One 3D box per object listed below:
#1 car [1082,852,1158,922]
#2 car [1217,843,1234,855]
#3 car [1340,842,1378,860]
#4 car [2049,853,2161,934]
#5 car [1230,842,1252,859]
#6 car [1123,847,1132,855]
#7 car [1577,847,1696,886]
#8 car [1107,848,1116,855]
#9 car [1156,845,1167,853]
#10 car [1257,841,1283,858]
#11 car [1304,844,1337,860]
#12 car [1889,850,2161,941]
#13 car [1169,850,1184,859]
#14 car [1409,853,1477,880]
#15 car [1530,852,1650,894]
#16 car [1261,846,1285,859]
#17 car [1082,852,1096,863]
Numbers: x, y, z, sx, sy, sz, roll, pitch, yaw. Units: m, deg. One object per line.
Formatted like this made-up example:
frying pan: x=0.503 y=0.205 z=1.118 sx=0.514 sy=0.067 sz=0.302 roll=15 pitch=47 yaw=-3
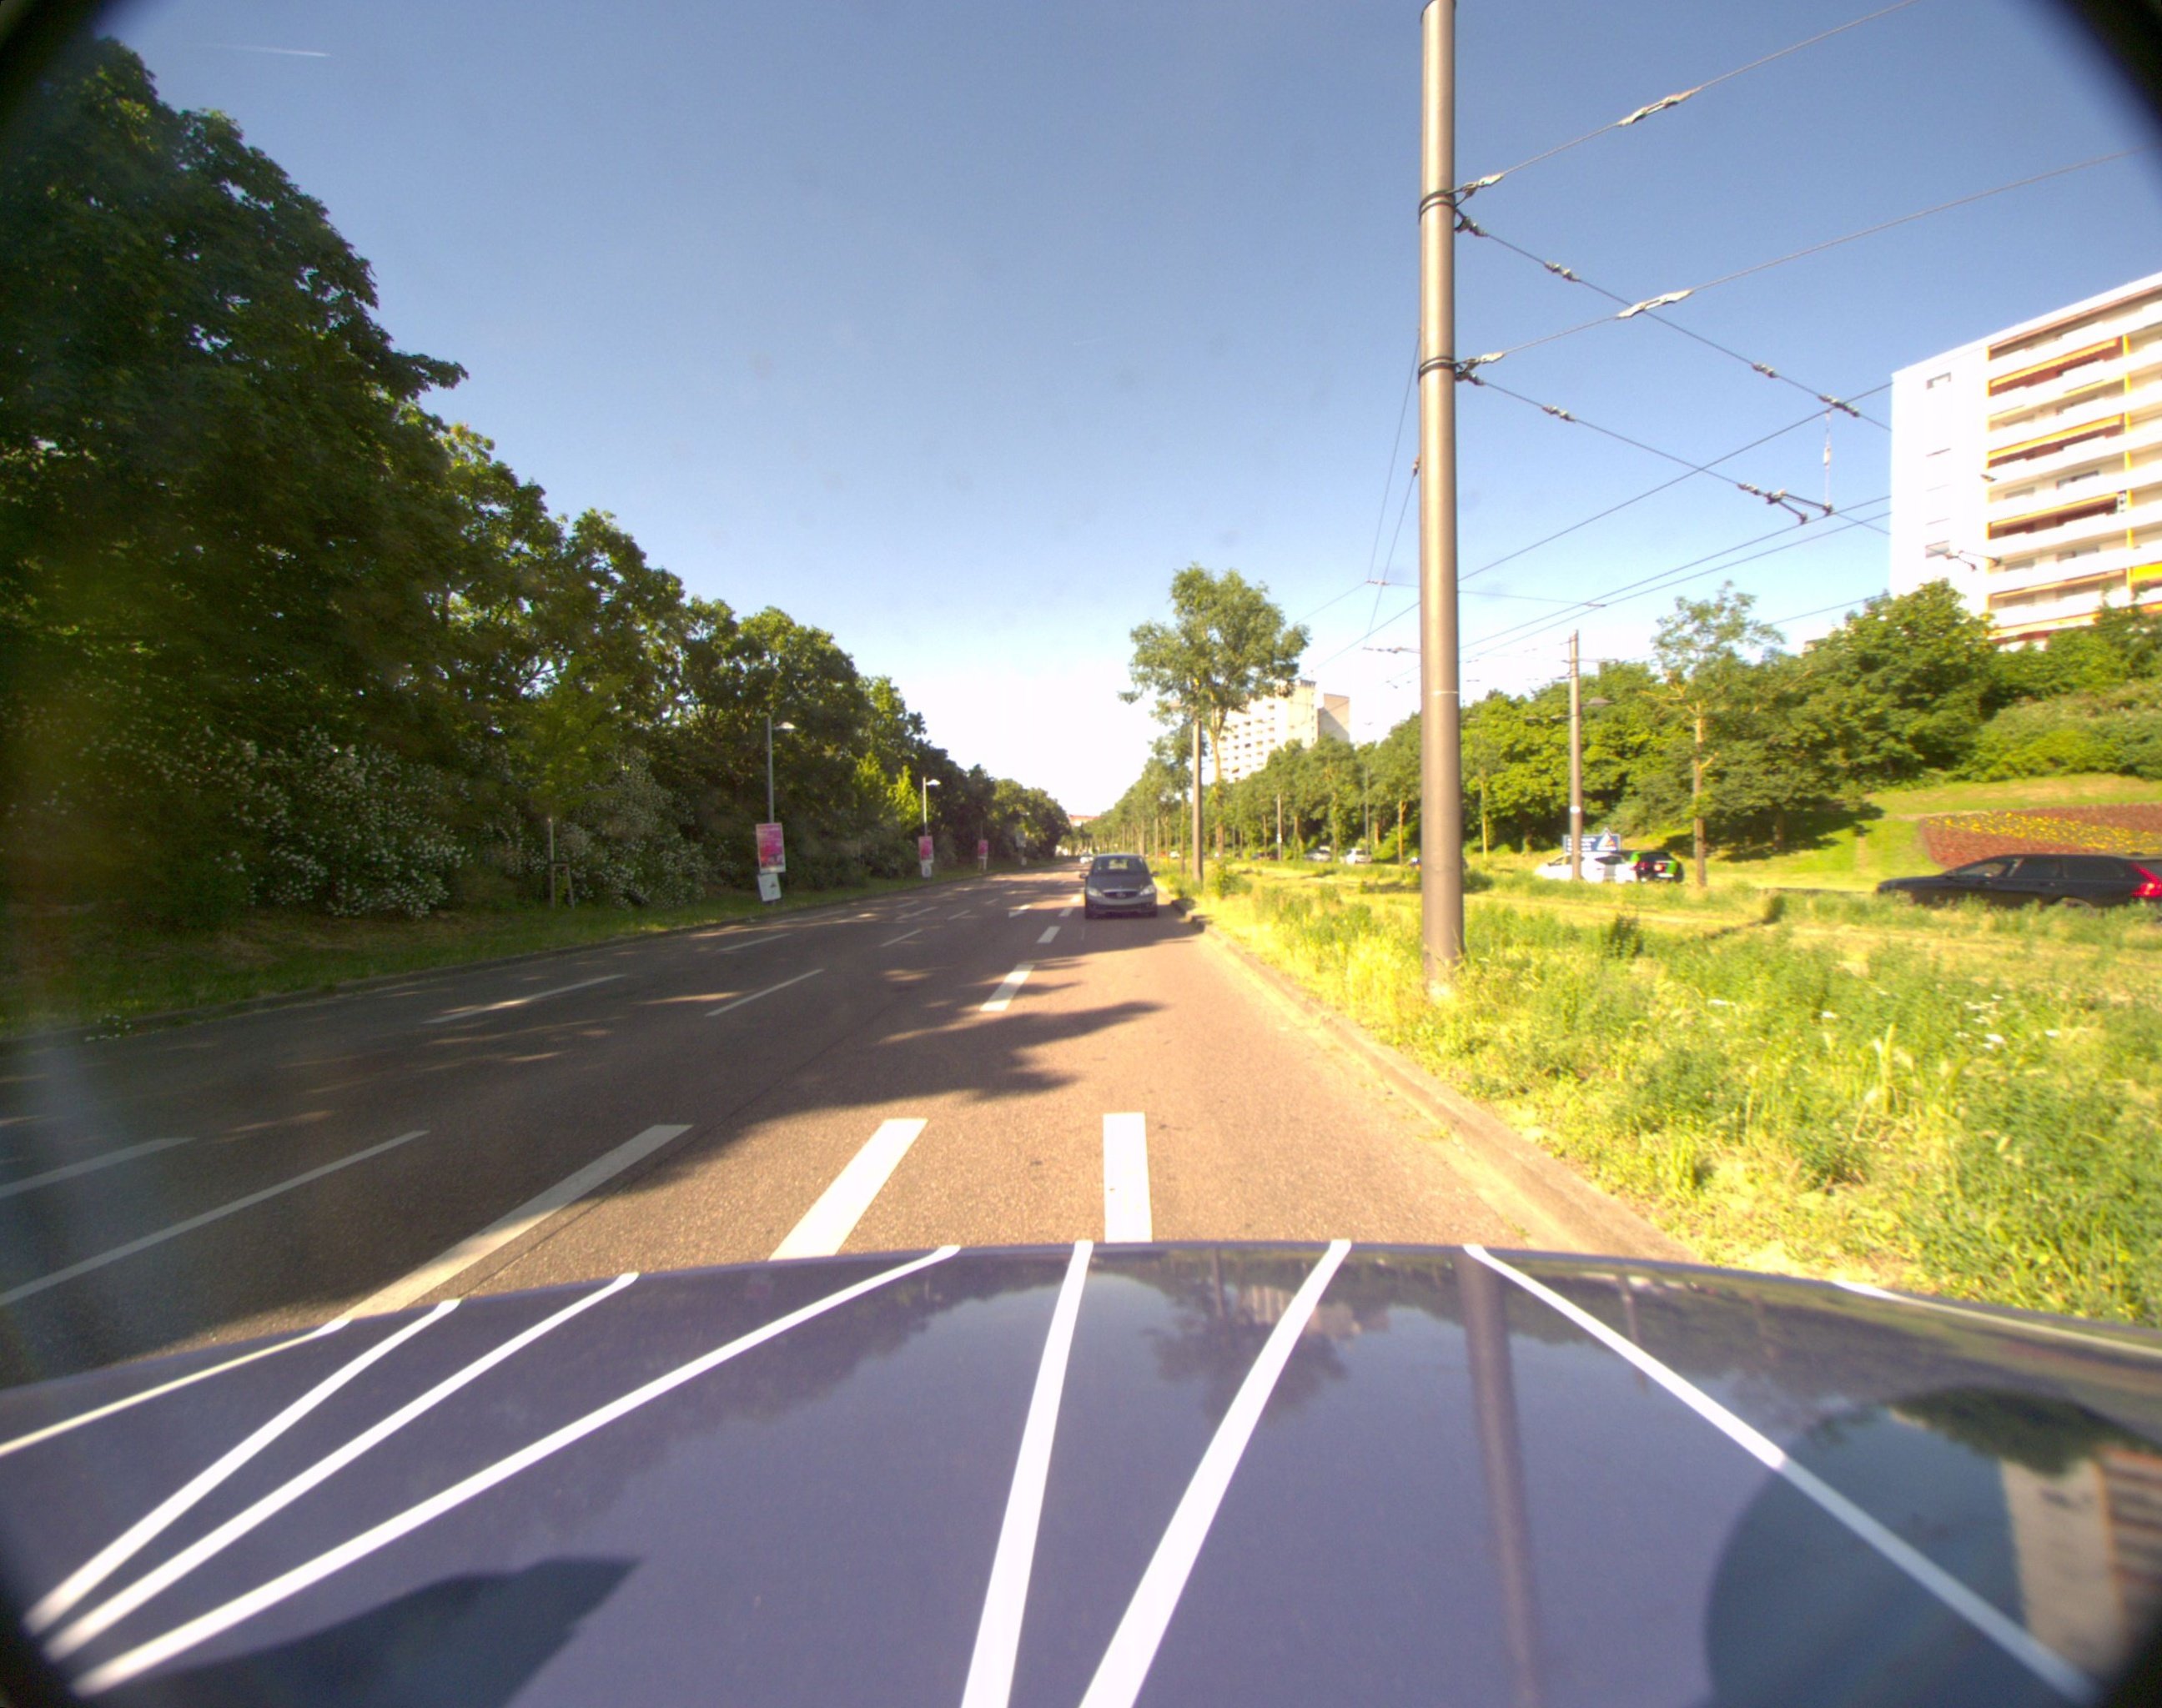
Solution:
car: x=0.944 y=0.785 z=19.828 sx=1.759 sy=1.612 sz=3.880 roll=-1 pitch=0 yaw=1
car: x=22.273 y=-0.828 z=117.195 sx=1.882 sy=1.755 sz=4.000 roll=-1 pitch=0 yaw=1
car: x=23.171 y=-0.254 z=63.491 sx=1.847 sy=1.390 sz=4.000 roll=-1 pitch=0 yaw=2
car: x=21.366 y=0.753 z=14.026 sx=1.792 sy=1.499 sz=4.242 roll=-1 pitch=0 yaw=5
car: x=20.321 y=-0.464 z=96.462 sx=1.998 sy=2.002 sz=4.000 roll=-1 pitch=0 yaw=1
car: x=12.113 y=-0.739 z=196.550 sx=1.942 sy=2.002 sz=3.999 roll=-1 pitch=0 yaw=-2
car: x=22.153 y=0.468 z=30.503 sx=1.867 sy=1.410 sz=4.000 roll=-1 pitch=0 yaw=1
car: x=9.037 y=-0.642 z=225.252 sx=1.999 sy=2.002 sz=3.998 roll=-1 pitch=0 yaw=-3
car: x=17.889 y=-1.106 z=168.998 sx=1.882 sy=1.755 sz=3.999 roll=-1 pitch=0 yaw=-3
car: x=20.315 y=-0.444 z=81.926 sx=1.882 sy=1.755 sz=4.000 roll=-1 pitch=0 yaw=1
car: x=23.278 y=-0.218 z=73.899 sx=1.998 sy=1.477 sz=4.000 roll=-1 pitch=0 yaw=1
car: x=17.934 y=0.641 z=13.925 sx=1.799 sy=1.408 sz=4.311 roll=-1 pitch=0 yaw=3
car: x=17.824 y=0.008 z=142.233 sx=1.910 sy=1.652 sz=3.998 roll=-1 pitch=0 yaw=-6
car: x=19.609 y=0.636 z=41.362 sx=1.825 sy=1.353 sz=4.230 roll=-1 pitch=0 yaw=3
car: x=18.549 y=0.642 z=27.923 sx=1.867 sy=1.410 sz=4.000 roll=-1 pitch=0 yaw=3
car: x=22.925 y=-0.216 z=90.867 sx=1.802 sy=1.455 sz=4.000 roll=-1 pitch=0 yaw=1
car: x=1.163 y=0.490 z=108.203 sx=1.875 sy=1.428 sz=4.594 roll=-1 pitch=0 yaw=2
